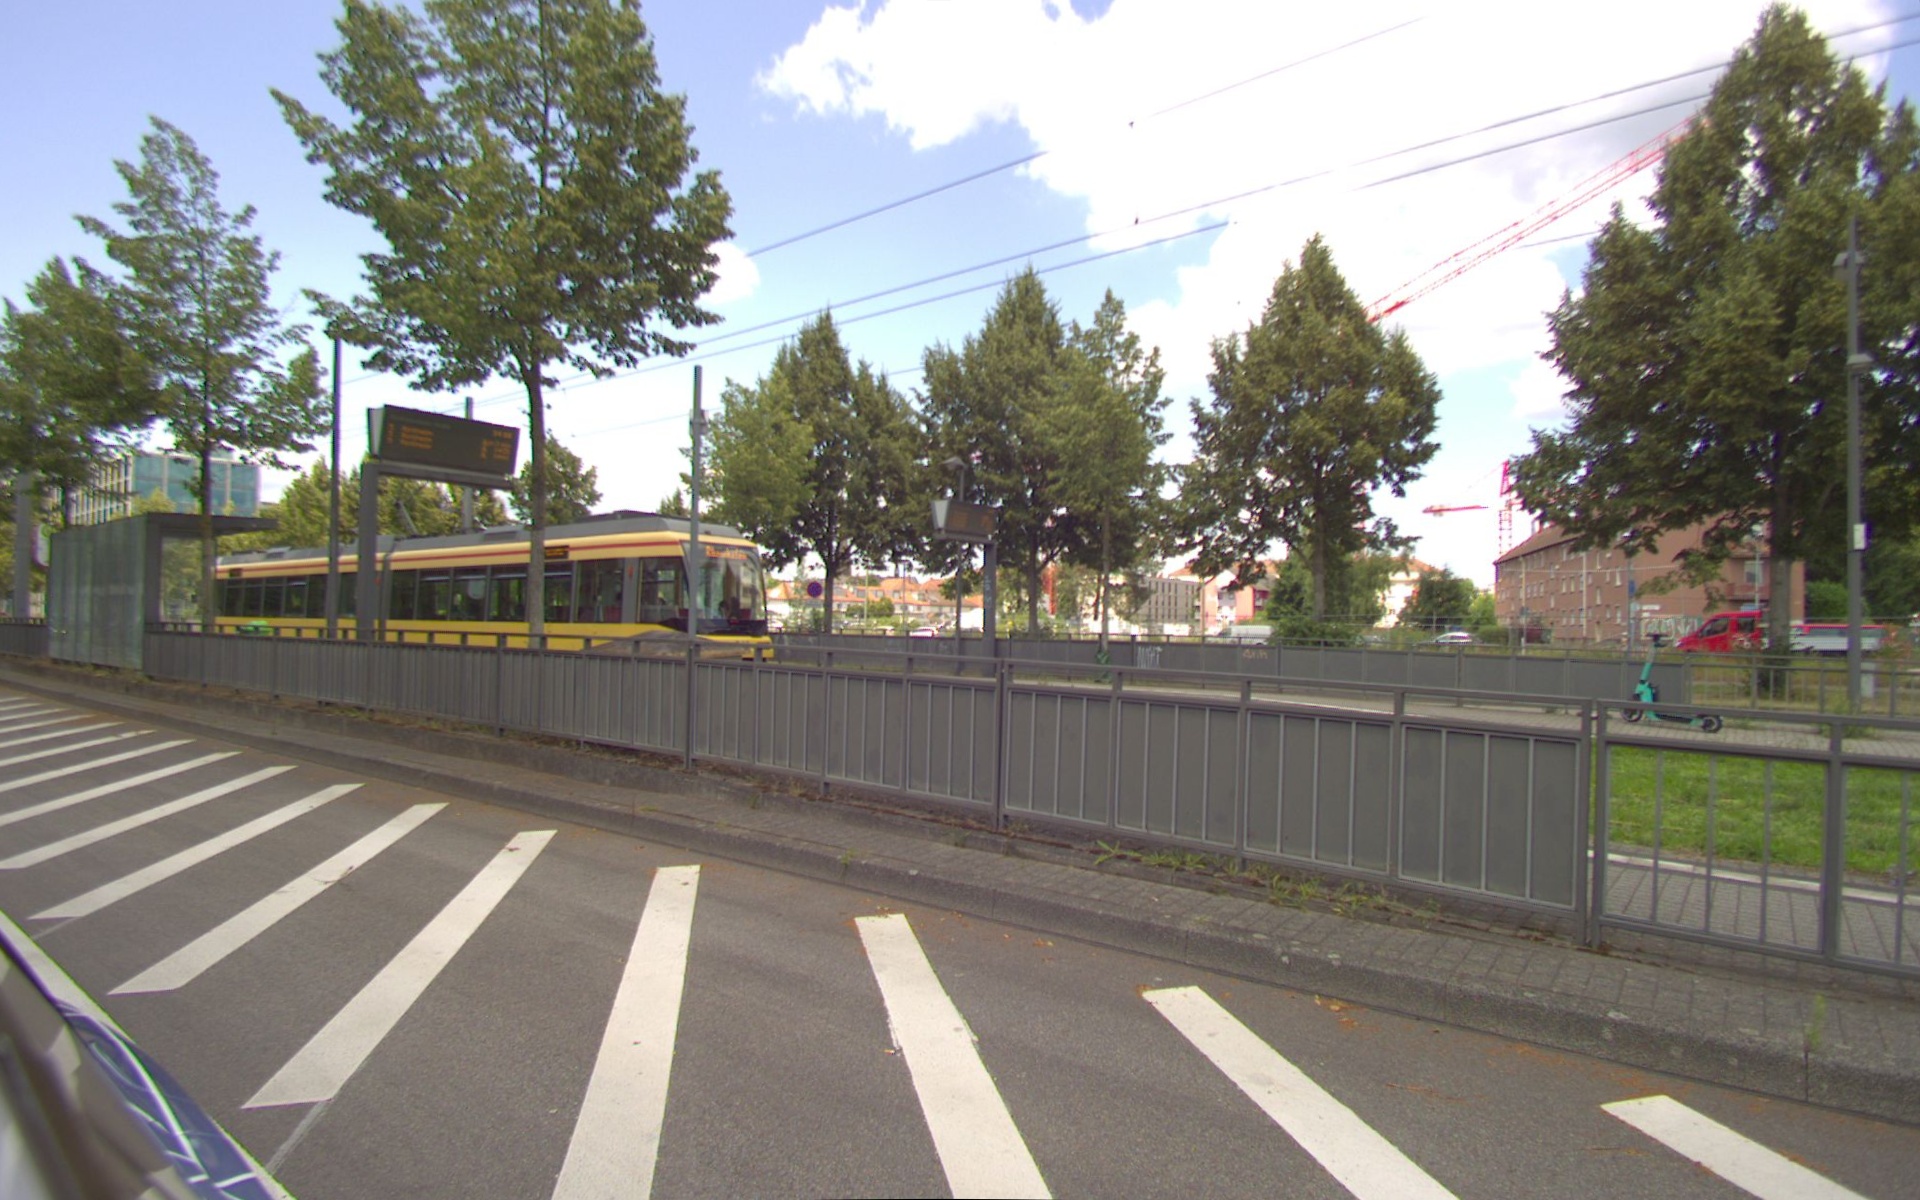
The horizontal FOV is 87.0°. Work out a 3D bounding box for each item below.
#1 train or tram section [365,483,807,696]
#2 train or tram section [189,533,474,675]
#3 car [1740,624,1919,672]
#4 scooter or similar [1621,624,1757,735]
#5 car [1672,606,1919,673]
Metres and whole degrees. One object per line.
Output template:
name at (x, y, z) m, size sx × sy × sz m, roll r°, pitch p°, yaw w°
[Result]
train or tram section at (-9.203, -0.035, 23.130) m, size 13.457 × 3.768 × 2.815 m, roll -1°, pitch -2°, yaw 38°
train or tram section at (-20.188, 0.267, 31.730) m, size 14.643 × 3.666 × 2.661 m, roll -1°, pitch -2°, yaw 38°
car at (35.632, 1.931, 41.648) m, size 2.052 × 1.866 × 5.199 m, roll 1°, pitch -2°, yaw -33°
scooter or similar at (9.421, 1.000, 13.125) m, size 0.412 × 1.312 × 1.350 m, roll 1°, pitch 0°, yaw -31°
car at (30.460, 1.417, 37.041) m, size 2.353 × 2.214 × 6.859 m, roll 1°, pitch -2°, yaw -28°
